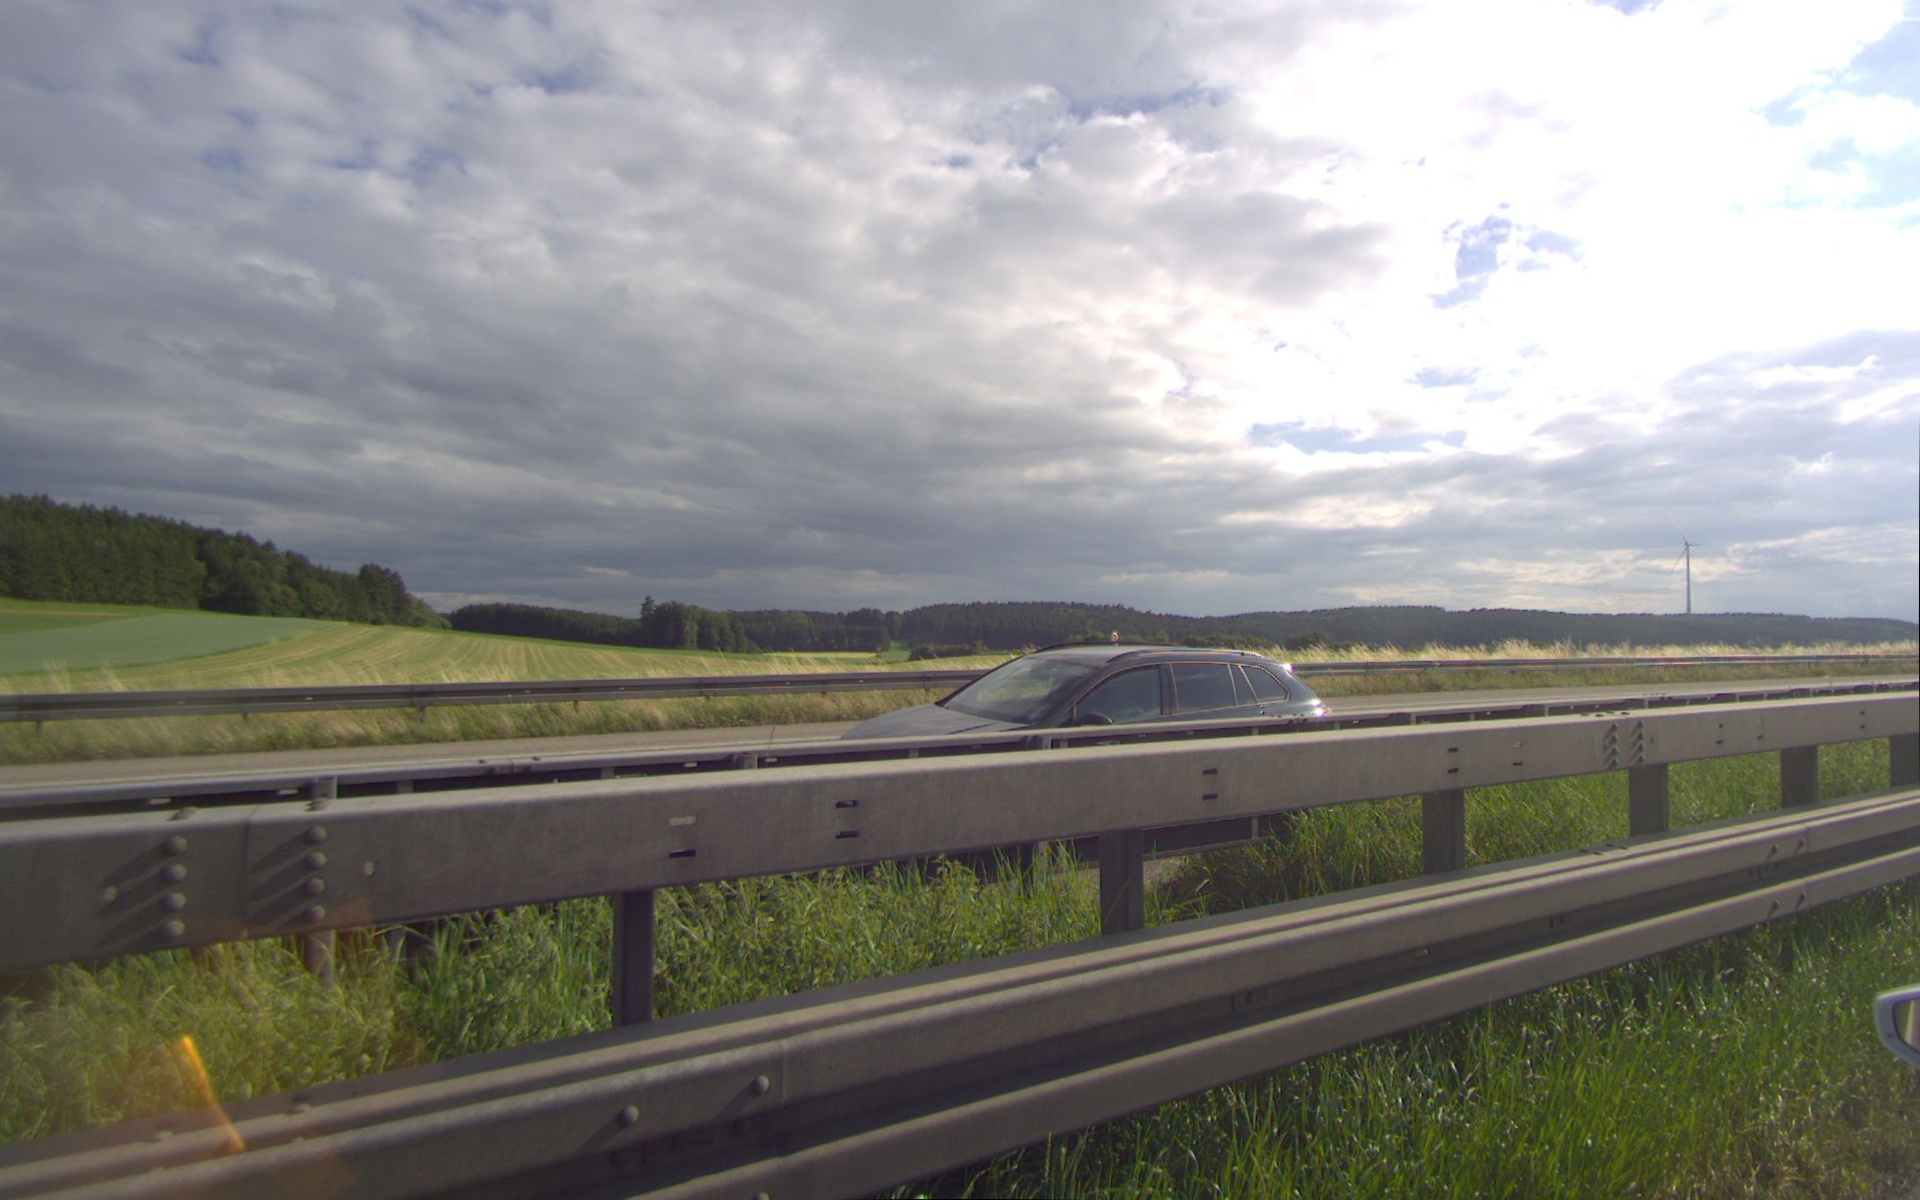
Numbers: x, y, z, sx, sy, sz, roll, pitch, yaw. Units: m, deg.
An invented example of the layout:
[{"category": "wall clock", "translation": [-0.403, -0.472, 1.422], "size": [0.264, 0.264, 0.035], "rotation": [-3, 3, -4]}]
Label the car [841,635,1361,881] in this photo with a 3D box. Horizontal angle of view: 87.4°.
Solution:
[{"category": "car", "translation": [1.247, 1.096, 8.220], "size": [4.111, 1.535, 1.590], "rotation": [2, -1, -30]}]
